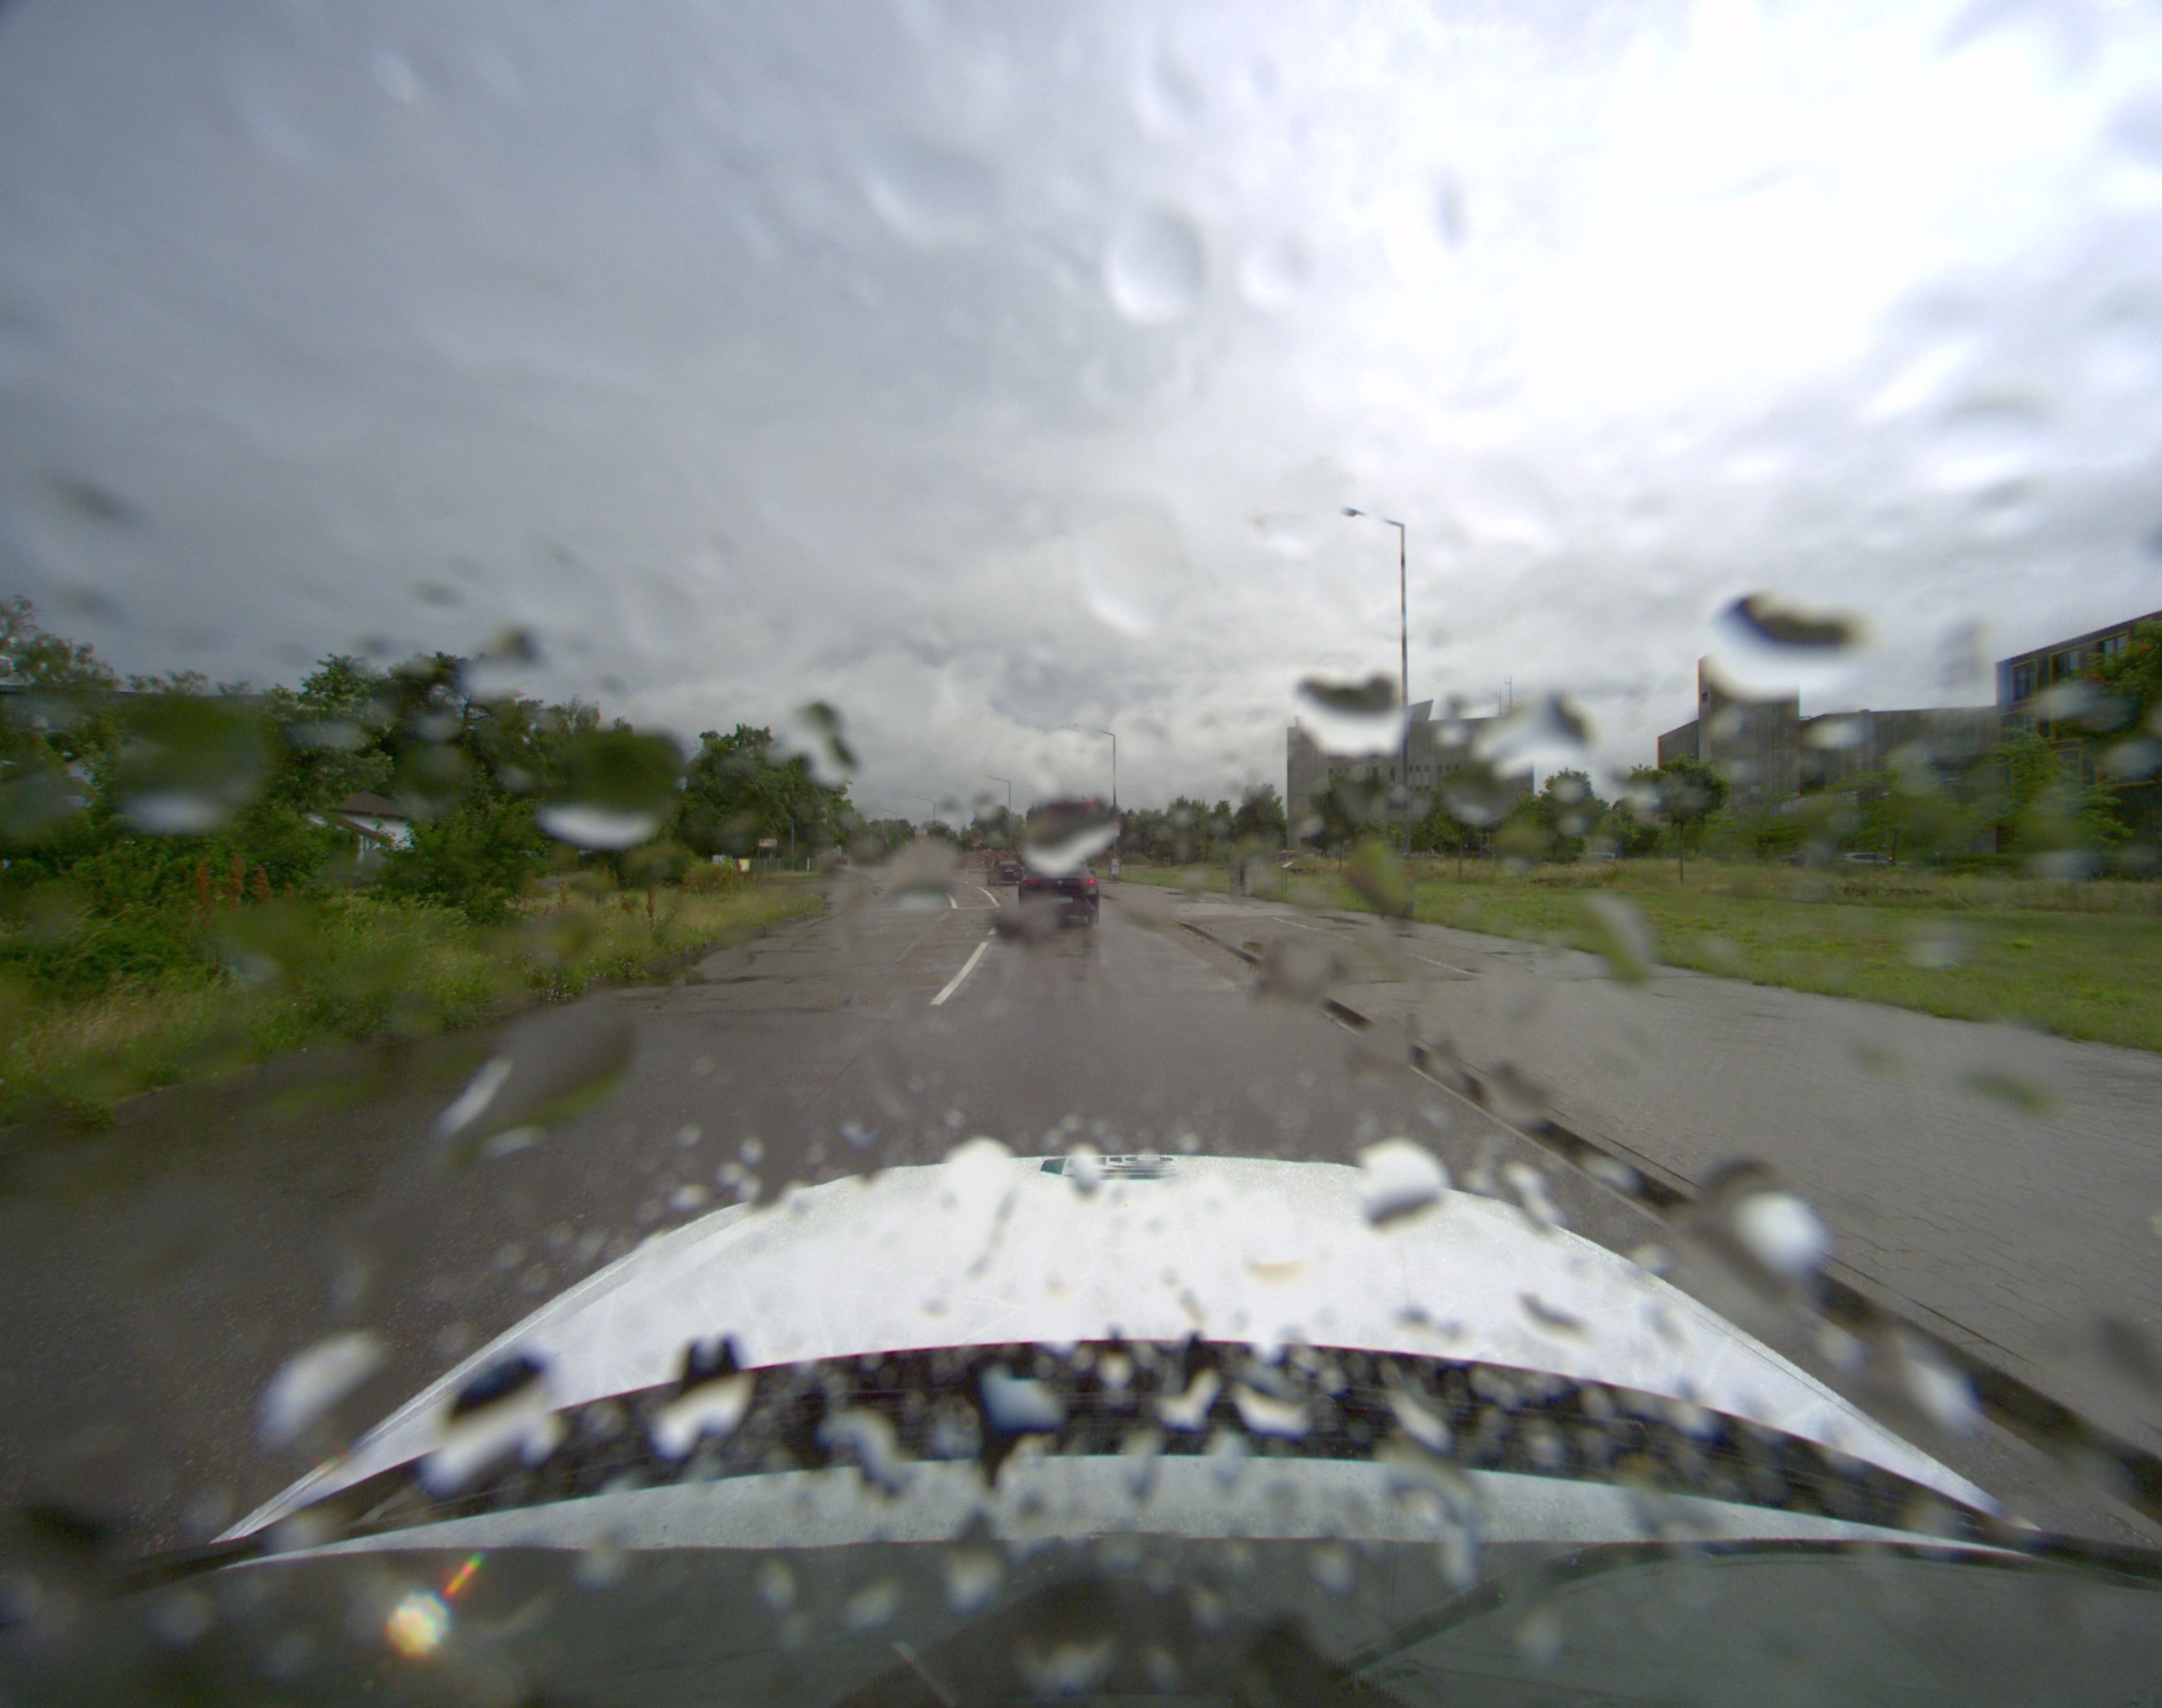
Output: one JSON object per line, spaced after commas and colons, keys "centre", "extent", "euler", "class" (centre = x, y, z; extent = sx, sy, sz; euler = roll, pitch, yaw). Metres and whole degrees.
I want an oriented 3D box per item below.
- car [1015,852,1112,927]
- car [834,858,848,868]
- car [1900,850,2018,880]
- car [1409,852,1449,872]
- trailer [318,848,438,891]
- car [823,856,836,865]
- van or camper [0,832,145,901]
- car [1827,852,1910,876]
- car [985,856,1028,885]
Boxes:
{"centre": [-0.514, 0.738, 19.155], "extent": [1.984, 1.520, 3.993], "euler": [-2, 0, -5], "class": "car"}
{"centre": [-41.333, 1.565, 140.137], "extent": [1.849, 1.641, 3.986], "euler": [0, 0, -22], "class": "car"}
{"centre": [53.778, 0.643, 49.987], "extent": [4.502, 1.762, 2.011], "euler": [0, 0, 23], "class": "car"}
{"centre": [36.250, 0.861, 84.851], "extent": [3.661, 2.014, 2.012], "euler": [-1, -1, 30], "class": "car"}
{"centre": [-35.274, 0.786, 40.981], "extent": [4.115, 2.089, 1.831], "euler": [1, -1, -22], "class": "trailer"}
{"centre": [-47.725, 1.260, 154.755], "extent": [2.004, 1.702, 3.986], "euler": [0, 0, -22], "class": "car"}
{"centre": [-45.648, 0.549, 36.269], "extent": [4.515, 2.946, 2.468], "euler": [0, 0, -19], "class": "van or camper"}
{"centre": [57.229, 0.722, 59.281], "extent": [3.951, 1.721, 1.779], "euler": [0, 0, 23], "class": "car"}
{"centre": [-4.142, 0.878, 44.901], "extent": [1.843, 1.442, 3.983], "euler": [-2, 0, -12], "class": "car"}
